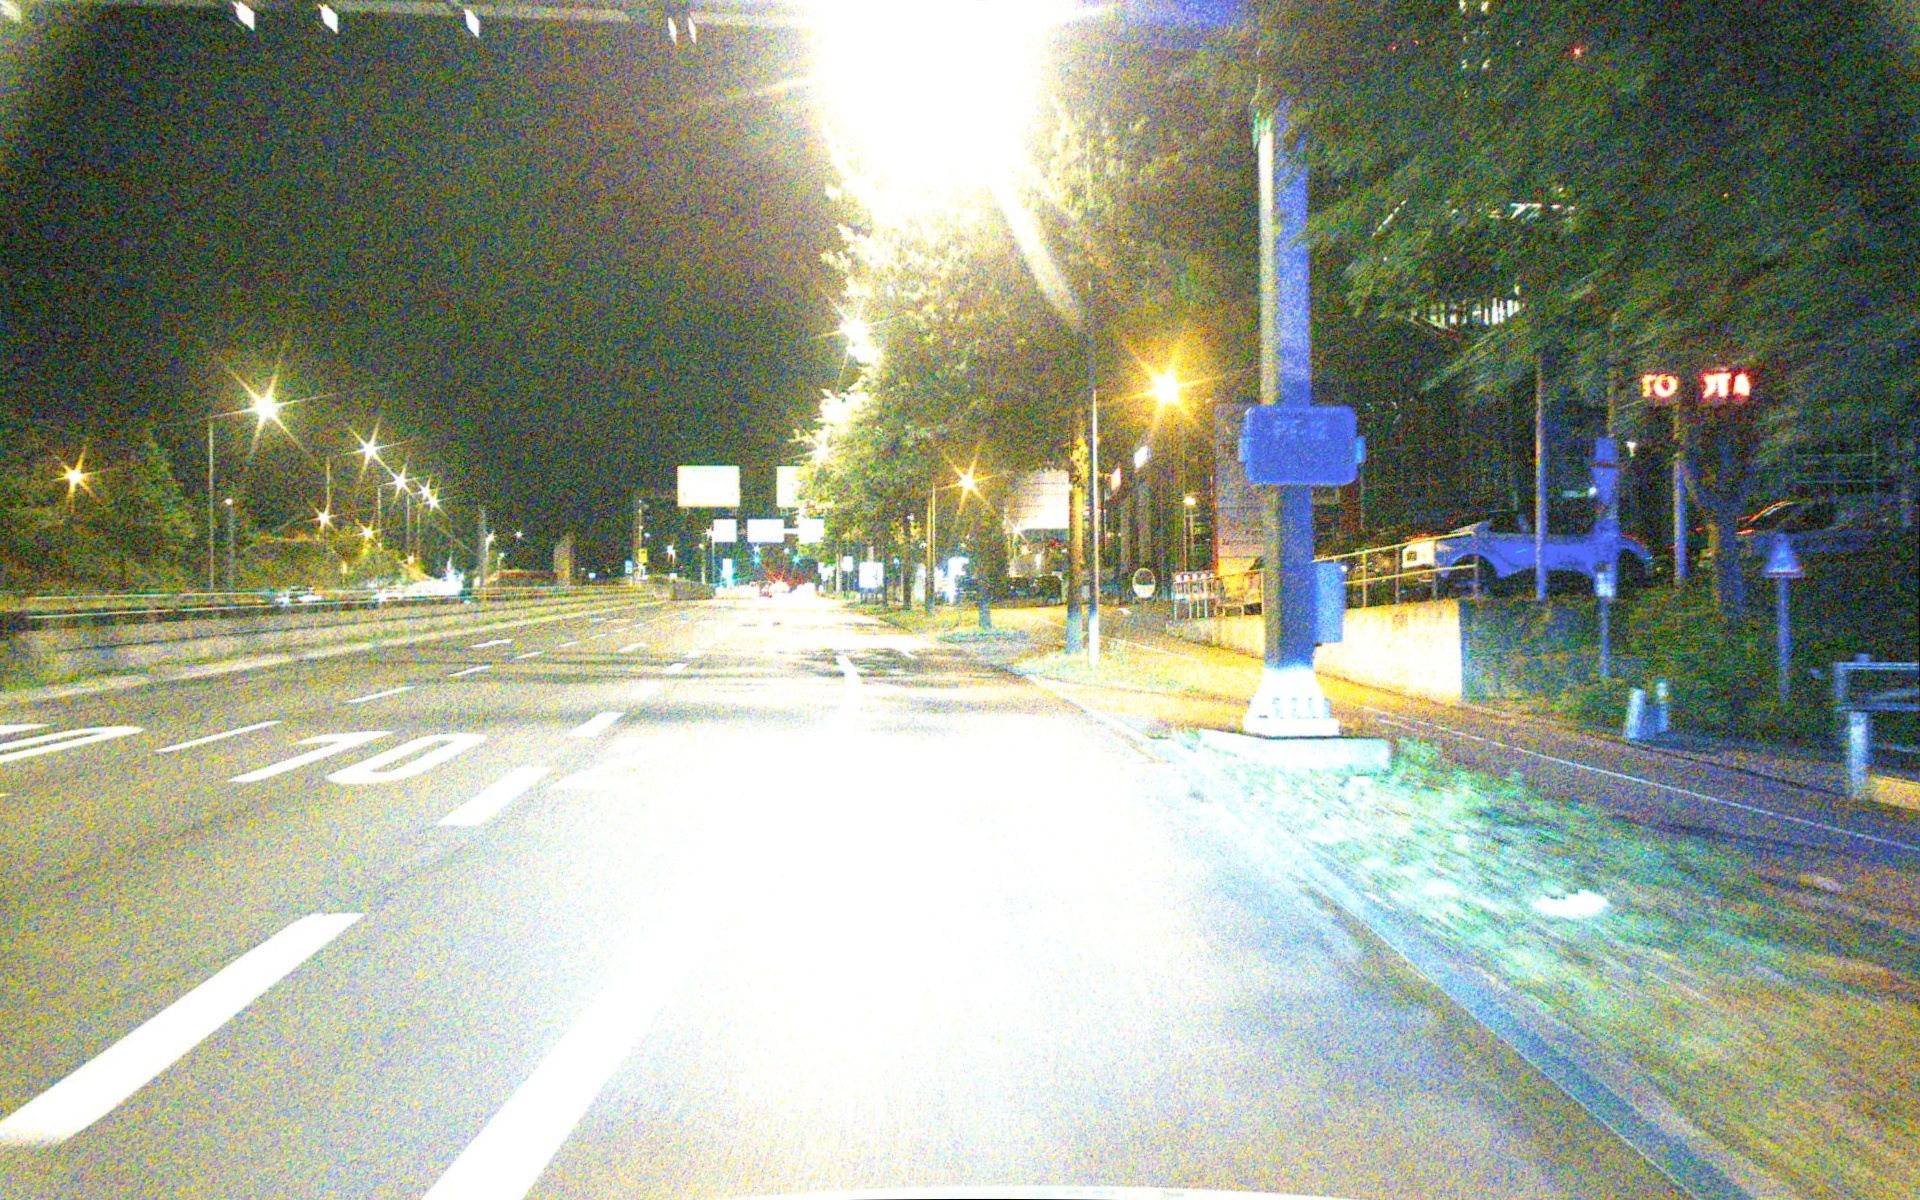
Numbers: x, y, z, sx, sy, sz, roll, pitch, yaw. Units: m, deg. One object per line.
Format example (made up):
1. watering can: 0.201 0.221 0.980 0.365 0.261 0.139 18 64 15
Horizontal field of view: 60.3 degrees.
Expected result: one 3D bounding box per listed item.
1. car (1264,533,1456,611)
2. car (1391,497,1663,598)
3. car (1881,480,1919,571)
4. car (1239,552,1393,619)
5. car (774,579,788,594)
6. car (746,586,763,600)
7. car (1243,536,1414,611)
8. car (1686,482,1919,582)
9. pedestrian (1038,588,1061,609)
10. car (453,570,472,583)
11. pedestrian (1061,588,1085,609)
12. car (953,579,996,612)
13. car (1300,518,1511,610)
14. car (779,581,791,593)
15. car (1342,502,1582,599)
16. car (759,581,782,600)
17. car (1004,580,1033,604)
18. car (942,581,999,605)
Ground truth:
1. car: 8.672 -0.599 35.981 3.655 1.515 1.739 -2 -1 -8
2. car: 9.780 -0.890 28.722 4.038 1.549 1.820 -2 -2 -5
3. car: 23.183 -1.694 36.698 4.491 1.944 1.996 -1 -1 -9
4. car: 9.095 -0.376 42.200 3.802 1.516 1.717 -2 -2 -37
5. car: -26.217 -1.980 241.609 1.955 2.049 3.994 2 -1 -6
6. car: -27.024 -0.924 217.517 1.965 1.579 4.291 1 -1 -4
7. car: 8.631 -0.605 38.825 3.497 1.597 1.722 -2 -1 -10
8. car: 17.813 -1.413 34.772 4.274 1.755 1.749 -4 -1 -4
9. pedestrian: 4.561 -0.095 83.924 0.896 1.056 0.768 -1 -1 37
10. car: -61.933 -2.912 205.922 1.594 1.507 3.675 1 -1 -5
11. pedestrian: 5.733 -0.070 84.000 0.983 1.025 0.766 2 -2 -22
12. car: 0.952 -0.266 105.977 1.951 1.979 4.003 1 -1 11
13. car: 9.007 -0.718 33.602 3.676 1.615 1.777 -3 -1 -8
14. car: -26.253 -1.944 248.090 1.747 1.758 3.994 2 -1 -6
15. car: 9.371 -0.913 31.057 3.909 1.599 1.737 -2 -1 -5
16. car: -18.636 -0.908 162.766 1.929 1.741 3.997 1 -1 -4
17. car: 3.966 -0.531 113.043 1.853 1.538 3.636 1 -1 1
18. car: 0.675 -0.480 110.952 3.558 1.476 1.703 2 -1 -10
